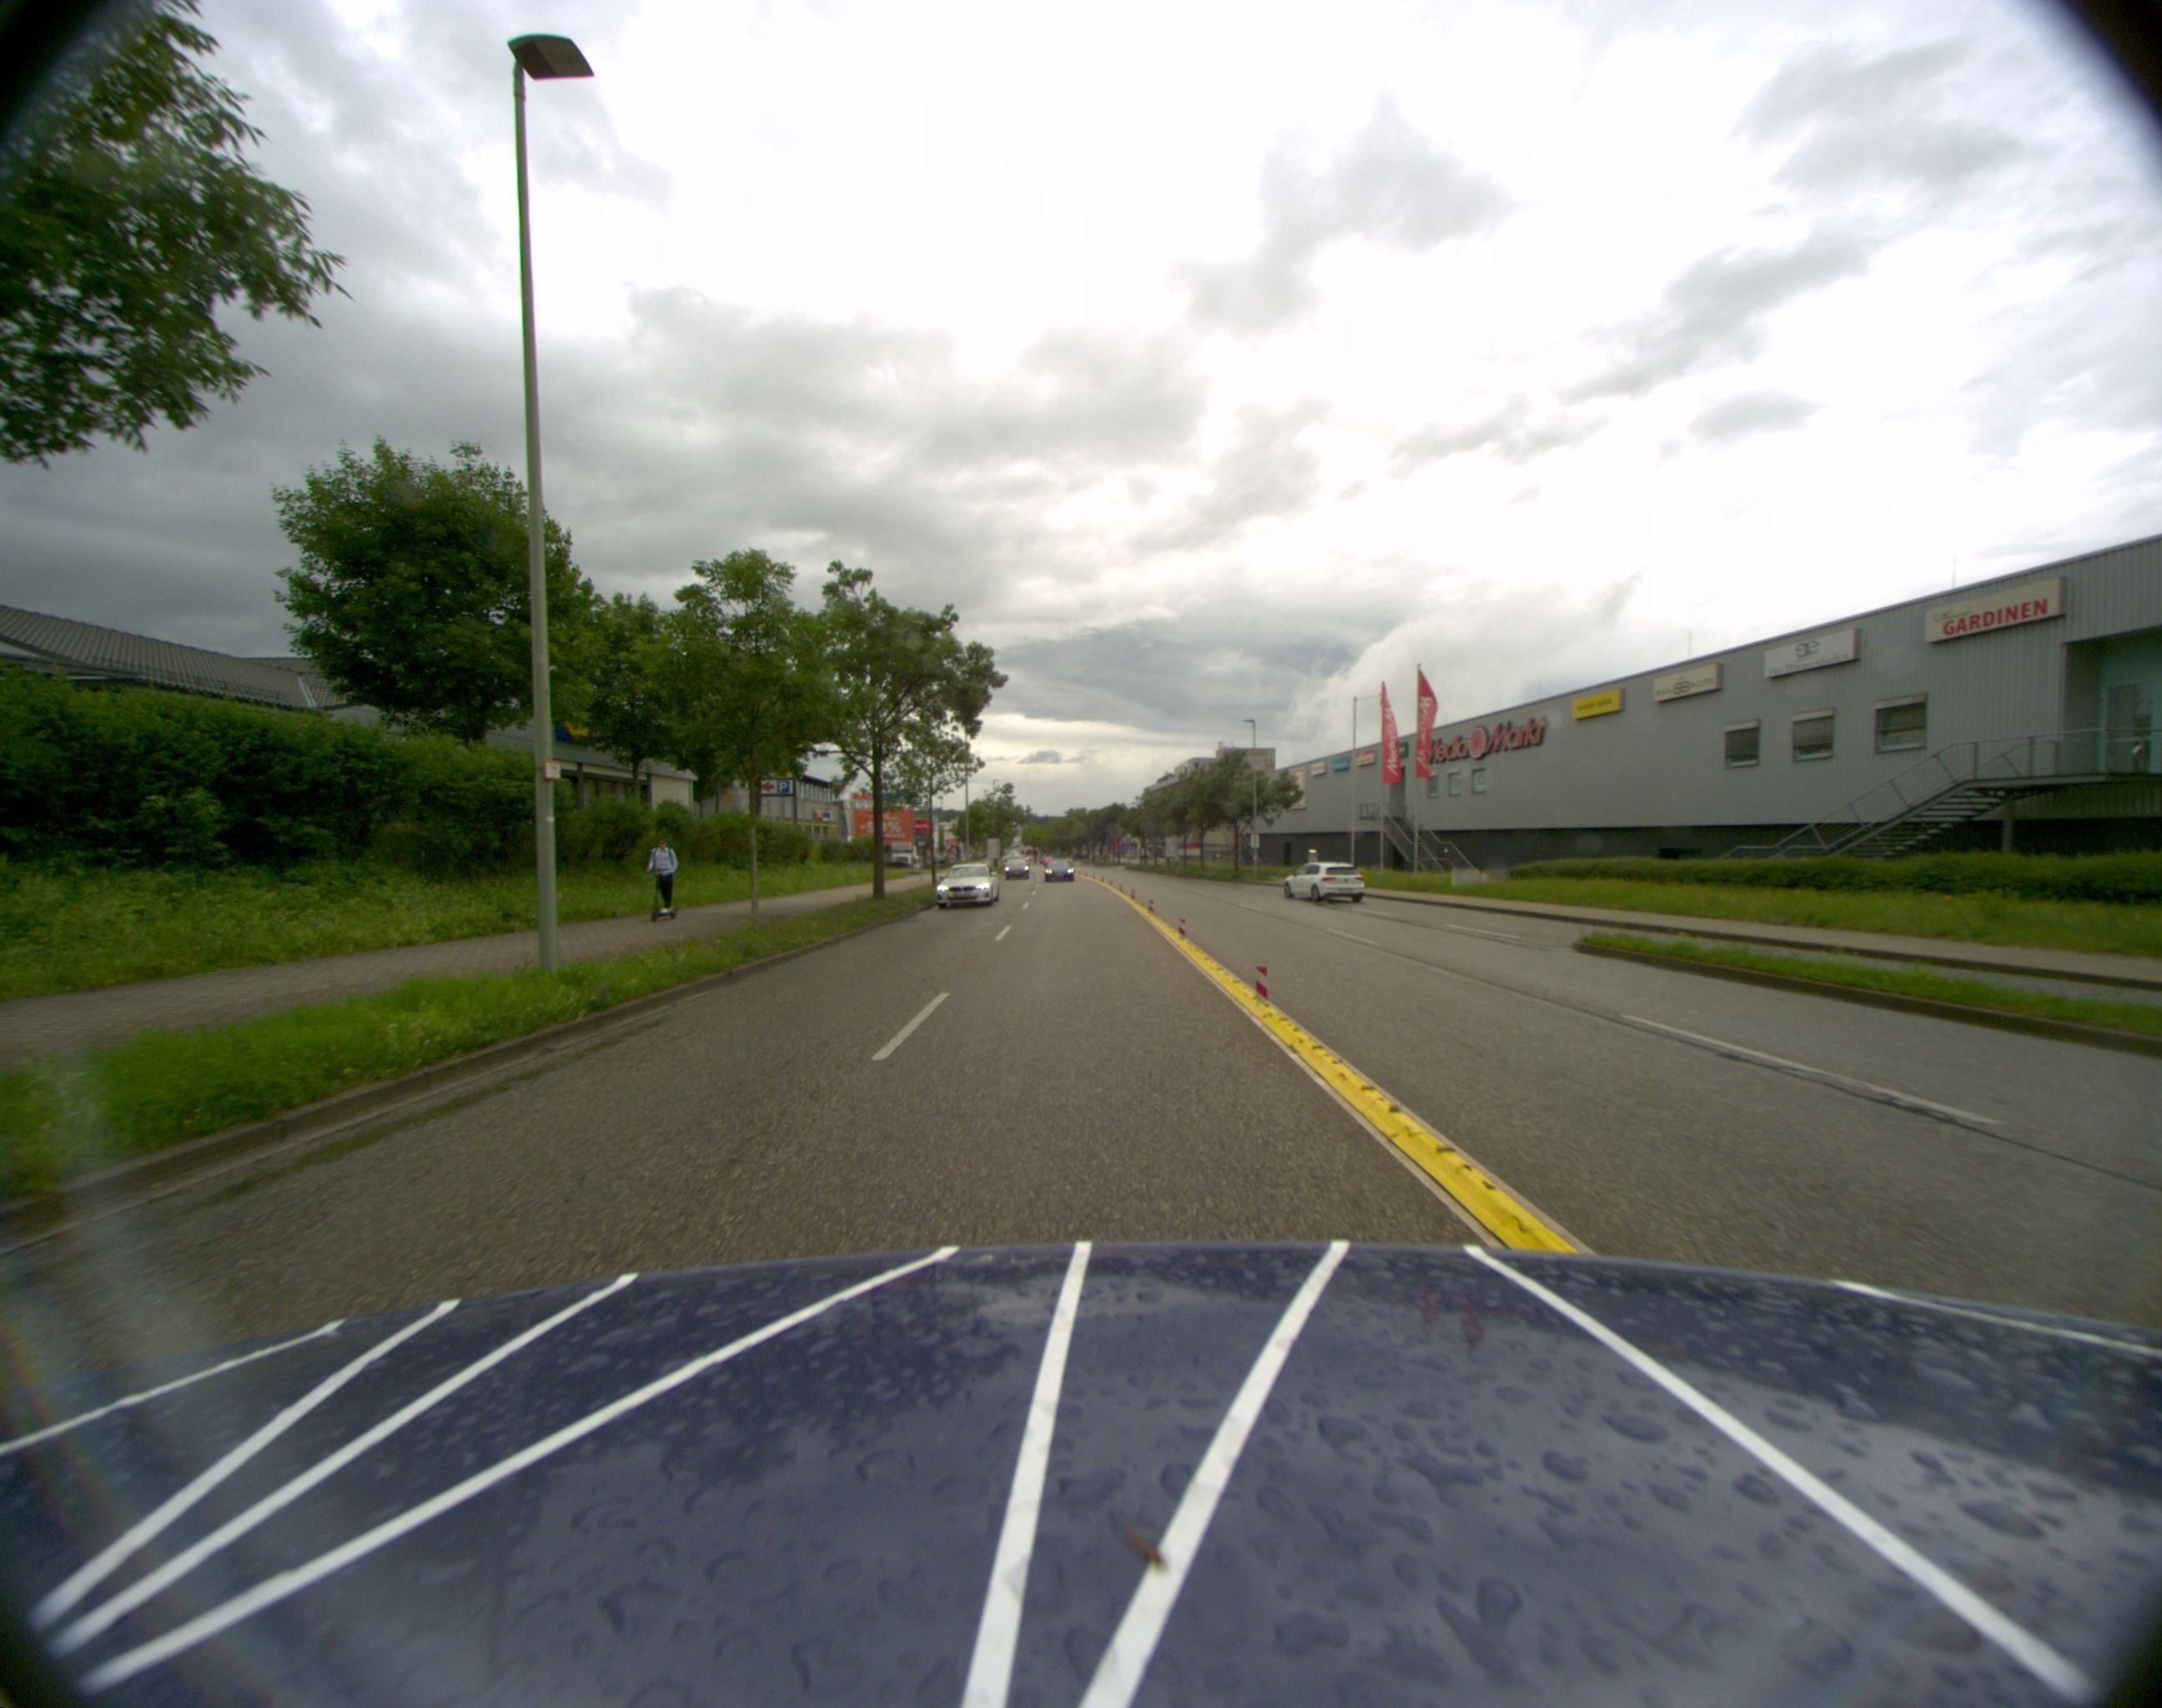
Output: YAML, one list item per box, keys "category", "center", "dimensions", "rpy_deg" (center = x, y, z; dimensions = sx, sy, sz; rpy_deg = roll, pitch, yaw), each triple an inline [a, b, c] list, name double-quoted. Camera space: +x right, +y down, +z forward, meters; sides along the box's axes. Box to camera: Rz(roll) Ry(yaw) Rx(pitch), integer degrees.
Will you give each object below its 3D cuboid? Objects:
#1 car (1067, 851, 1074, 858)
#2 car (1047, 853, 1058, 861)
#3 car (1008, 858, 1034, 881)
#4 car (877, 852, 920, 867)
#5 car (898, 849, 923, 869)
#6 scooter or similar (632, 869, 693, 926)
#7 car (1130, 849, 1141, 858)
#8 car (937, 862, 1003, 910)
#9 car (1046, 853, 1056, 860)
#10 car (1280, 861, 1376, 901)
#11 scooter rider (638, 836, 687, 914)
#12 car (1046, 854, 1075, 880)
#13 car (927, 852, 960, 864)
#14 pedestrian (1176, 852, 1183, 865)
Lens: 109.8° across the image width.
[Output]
- category: "car"
  center: [-2.478, 0.109, 181.223]
  dimensions: [1.621, 1.500, 3.710]
  rpy_deg: [-4, 2, -1]
- category: "car"
  center: [-5.849, 0.597, 154.529]
  dimensions: [1.789, 1.398, 4.613]
  rpy_deg: [0, 0, -7]
- category: "car"
  center: [-4.652, 1.183, 58.459]
  dimensions: [1.800, 1.572, 4.216]
  rpy_deg: [-3, 0, -6]
- category: "car"
  center: [-18.645, 0.531, 77.550]
  dimensions: [4.107, 1.430, 1.795]
  rpy_deg: [-1, -2, -18]
- category: "car"
  center: [-22.809, 0.689, 101.629]
  dimensions: [2.233, 2.522, 5.678]
  rpy_deg: [-3, 0, -3]
- category: "scooter or similar"
  center: [-10.103, 1.019, 18.387]
  dimensions: [0.696, 1.256, 1.400]
  rpy_deg: [1, 1, 1]
- category: "car"
  center: [12.947, -0.093, 181.426]
  dimensions: [1.999, 2.002, 4.884]
  rpy_deg: [-5, 1, 0]
- category: "car"
  center: [-3.868, 1.073, 27.245]
  dimensions: [1.808, 1.432, 4.540]
  rpy_deg: [-3, 0, -2]
- category: "car"
  center: [-6.333, 0.577, 160.821]
  dimensions: [1.746, 1.398, 3.997]
  rpy_deg: [0, 0, -7]
- category: "car"
  center: [9.338, 0.983, 29.157]
  dimensions: [1.905, 1.400, 4.422]
  rpy_deg: [0, 0, -6]
- category: "scooter rider"
  center: [-10.090, 0.486, 18.342]
  dimensions: [0.696, 1.810, 0.858]
  rpy_deg: [1, 1, 1]
- category: "car"
  center: [-1.334, 0.830, 50.229]
  dimensions: [1.799, 1.572, 4.217]
  rpy_deg: [-3, 0, -1]
- category: "car"
  center: [-21.640, 0.602, 119.589]
  dimensions: [4.665, 1.591, 1.927]
  rpy_deg: [2, 0, 5]
- category: "pedestrian"
  center: [12.192, 0.580, 94.106]
  dimensions: [0.586, 1.574, 0.766]
  rpy_deg: [-3, 1, -3]
